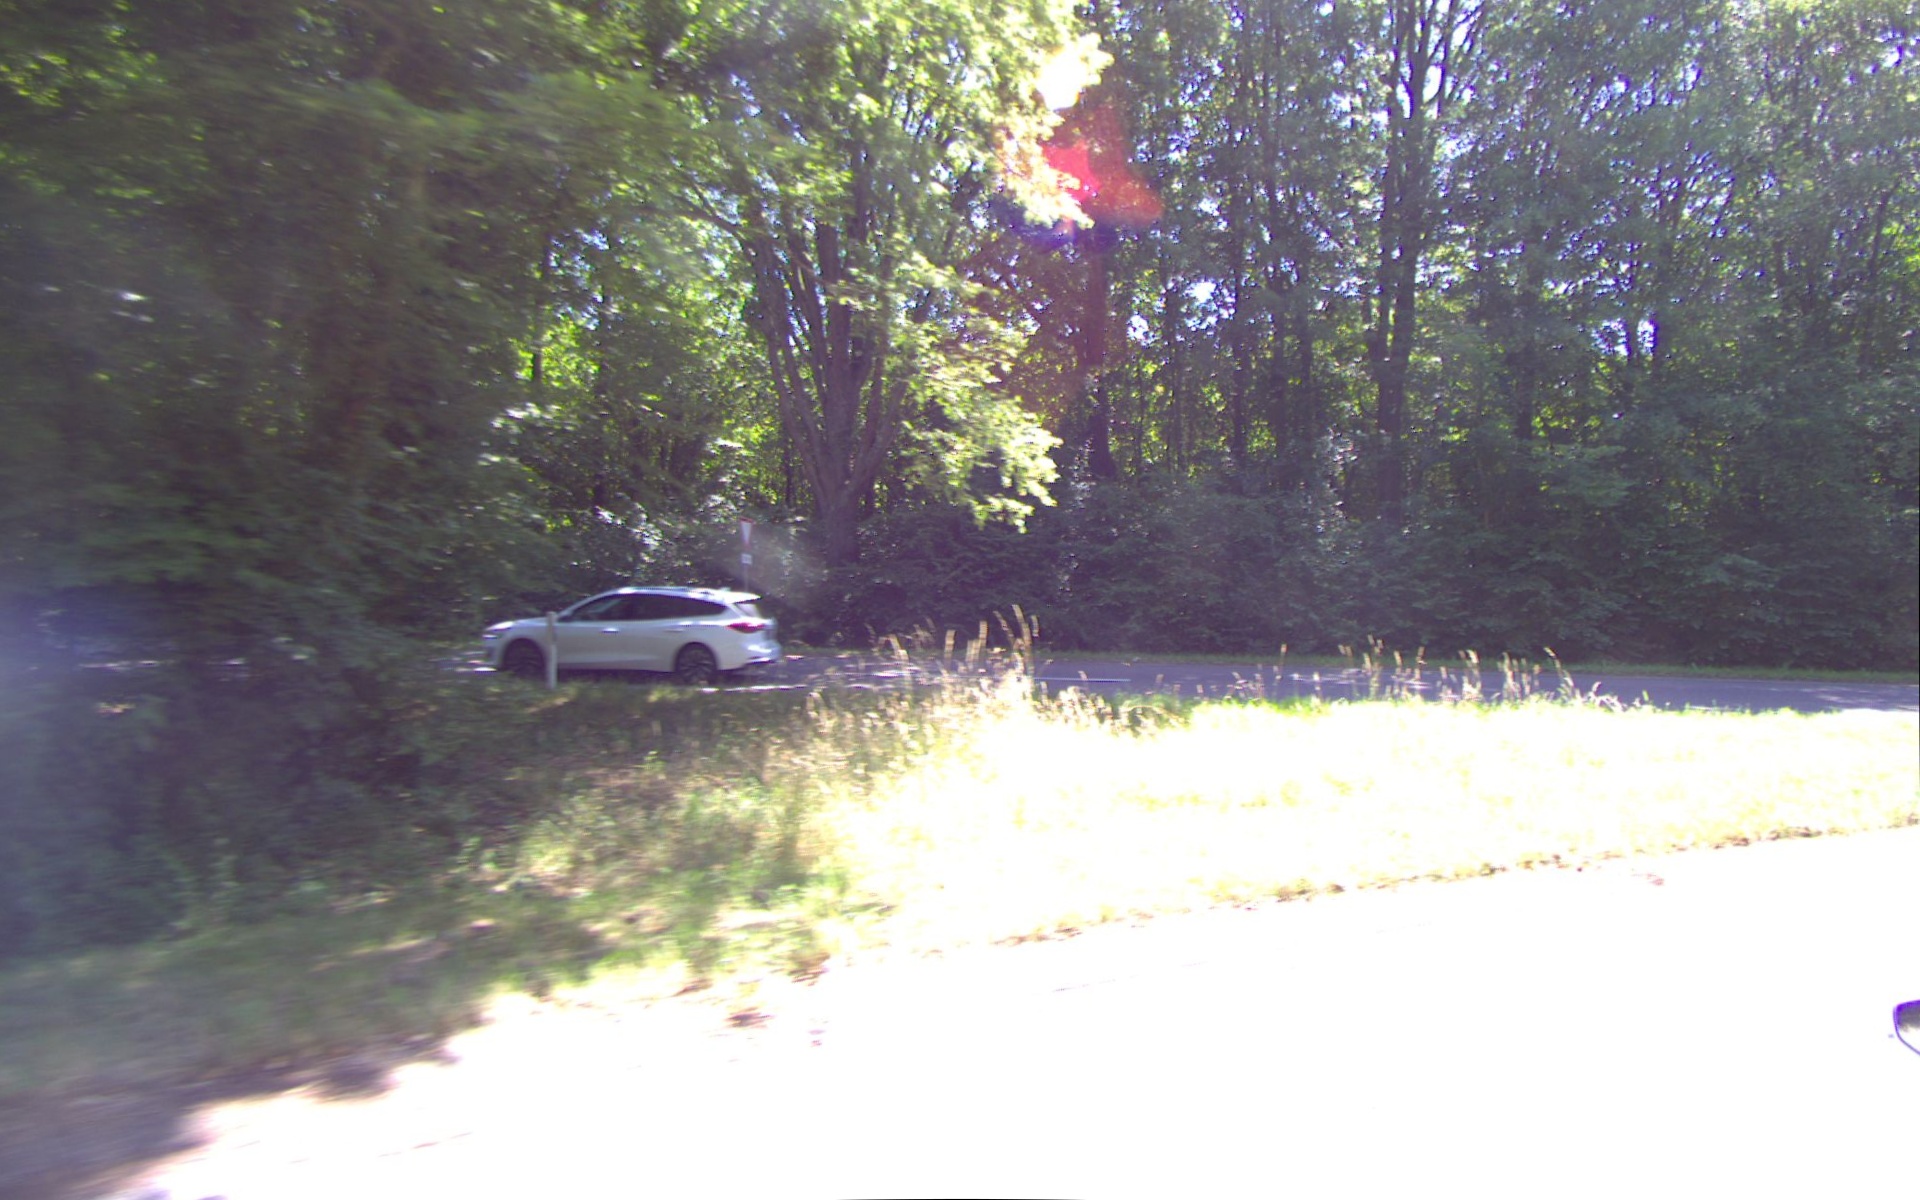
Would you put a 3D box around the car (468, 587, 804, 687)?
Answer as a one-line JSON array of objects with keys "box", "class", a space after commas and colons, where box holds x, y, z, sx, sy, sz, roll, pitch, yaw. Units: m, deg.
[{"box": [-5.033, 0.546, 16.036, 4.773, 1.472, 1.761, 0, 2, 2], "class": "car"}]
